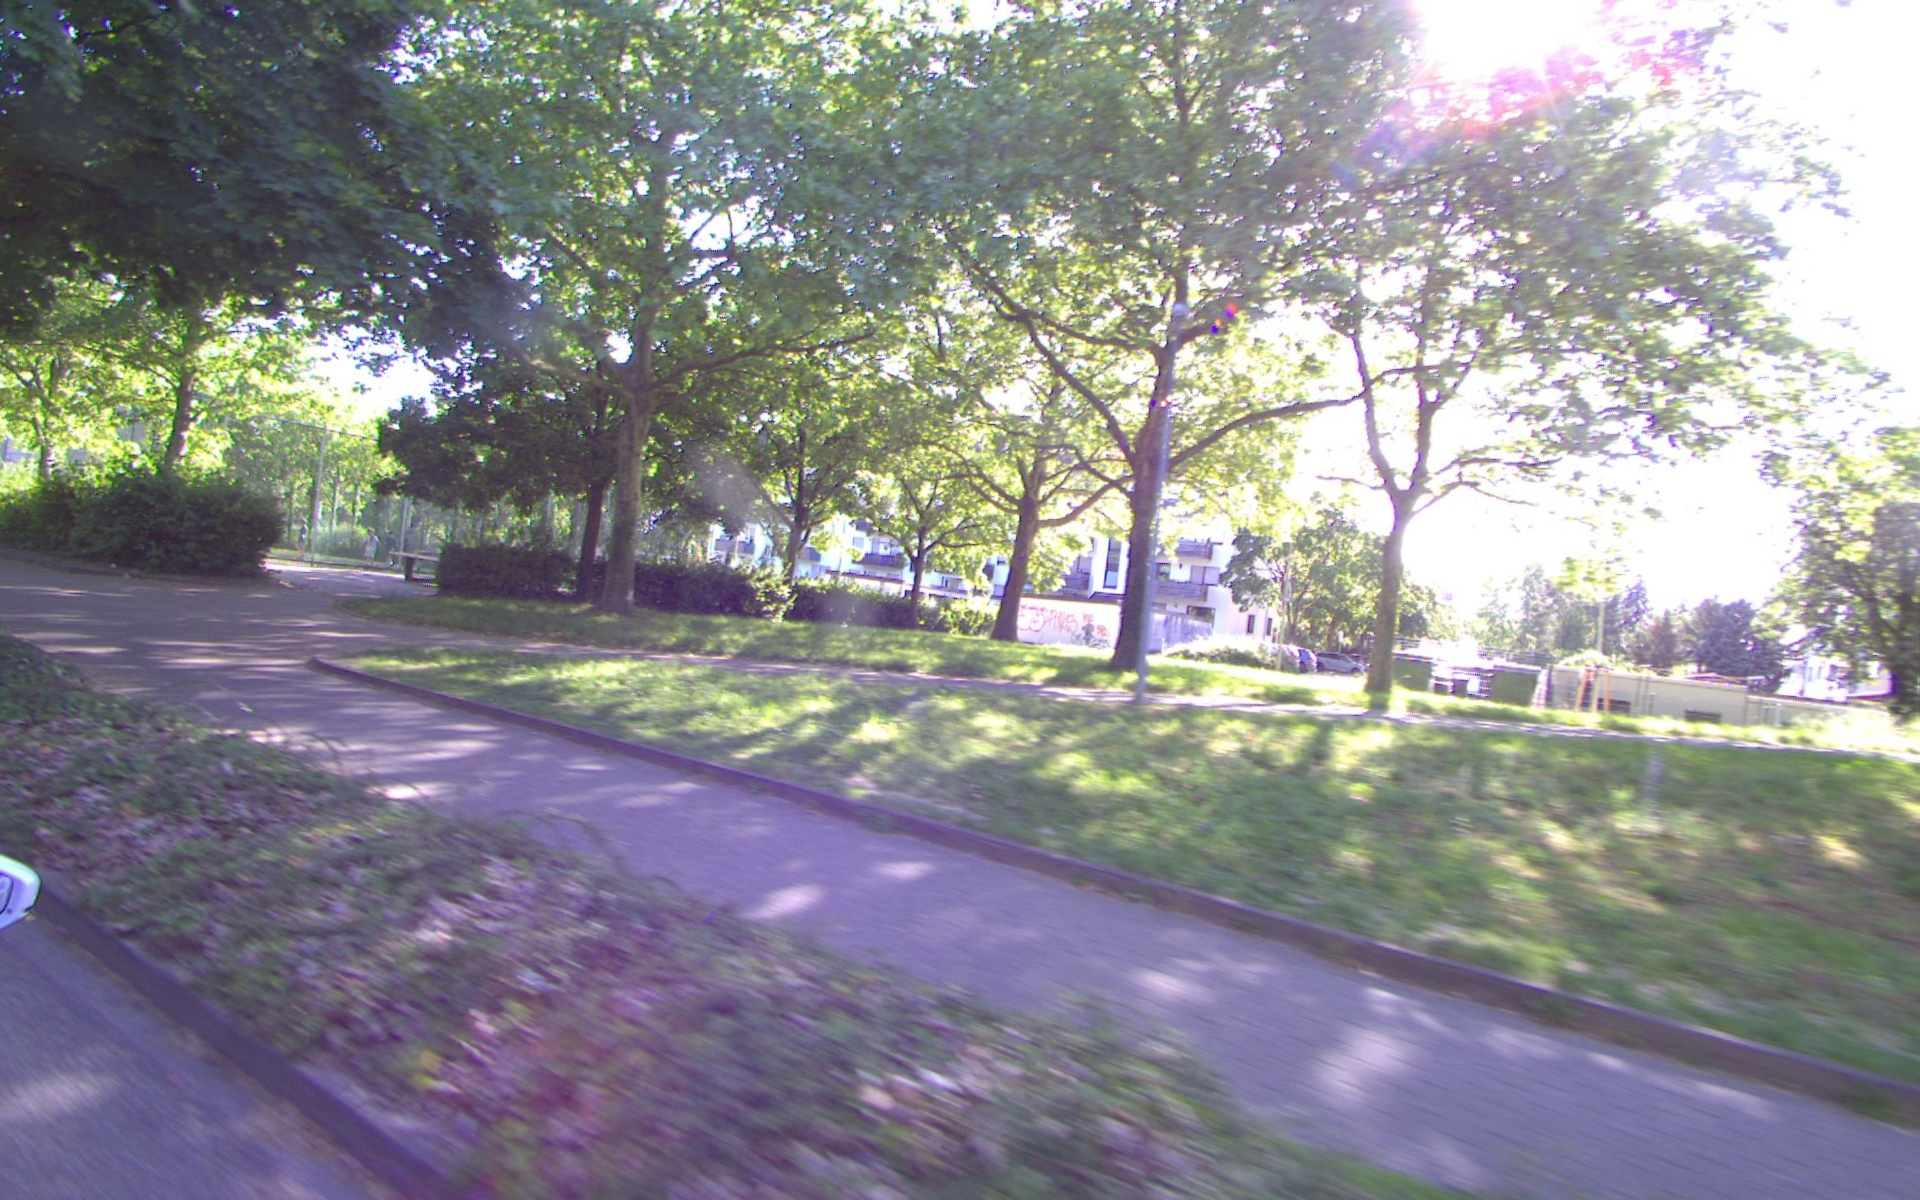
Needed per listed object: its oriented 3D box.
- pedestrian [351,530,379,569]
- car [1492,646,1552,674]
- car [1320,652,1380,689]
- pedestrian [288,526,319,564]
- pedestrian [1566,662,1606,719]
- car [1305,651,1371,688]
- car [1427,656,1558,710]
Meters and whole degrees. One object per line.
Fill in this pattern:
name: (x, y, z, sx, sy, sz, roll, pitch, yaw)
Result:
pedestrian: (-19.709, -1.664, 33.324, 0.555, 1.185, 0.493, 8, -1, -13)
car: (45.311, 4.838, 81.072, 3.937, 1.642, 1.996, 7, -2, 35)
car: (30.229, 5.459, 77.956, 3.932, 2.318, 1.999, 6, -2, 29)
pedestrian: (-22.362, -1.866, 34.282, 0.554, 1.185, 0.495, 7, -1, 9)
pedestrian: (19.077, 2.753, 30.670, 0.668, 1.606, 0.627, 7, -1, 2)
car: (26.950, 4.927, 71.732, 3.932, 2.036, 1.999, 6, -2, 29)
car: (18.178, 2.833, 34.404, 3.793, 1.308, 1.542, 6, -2, 31)
